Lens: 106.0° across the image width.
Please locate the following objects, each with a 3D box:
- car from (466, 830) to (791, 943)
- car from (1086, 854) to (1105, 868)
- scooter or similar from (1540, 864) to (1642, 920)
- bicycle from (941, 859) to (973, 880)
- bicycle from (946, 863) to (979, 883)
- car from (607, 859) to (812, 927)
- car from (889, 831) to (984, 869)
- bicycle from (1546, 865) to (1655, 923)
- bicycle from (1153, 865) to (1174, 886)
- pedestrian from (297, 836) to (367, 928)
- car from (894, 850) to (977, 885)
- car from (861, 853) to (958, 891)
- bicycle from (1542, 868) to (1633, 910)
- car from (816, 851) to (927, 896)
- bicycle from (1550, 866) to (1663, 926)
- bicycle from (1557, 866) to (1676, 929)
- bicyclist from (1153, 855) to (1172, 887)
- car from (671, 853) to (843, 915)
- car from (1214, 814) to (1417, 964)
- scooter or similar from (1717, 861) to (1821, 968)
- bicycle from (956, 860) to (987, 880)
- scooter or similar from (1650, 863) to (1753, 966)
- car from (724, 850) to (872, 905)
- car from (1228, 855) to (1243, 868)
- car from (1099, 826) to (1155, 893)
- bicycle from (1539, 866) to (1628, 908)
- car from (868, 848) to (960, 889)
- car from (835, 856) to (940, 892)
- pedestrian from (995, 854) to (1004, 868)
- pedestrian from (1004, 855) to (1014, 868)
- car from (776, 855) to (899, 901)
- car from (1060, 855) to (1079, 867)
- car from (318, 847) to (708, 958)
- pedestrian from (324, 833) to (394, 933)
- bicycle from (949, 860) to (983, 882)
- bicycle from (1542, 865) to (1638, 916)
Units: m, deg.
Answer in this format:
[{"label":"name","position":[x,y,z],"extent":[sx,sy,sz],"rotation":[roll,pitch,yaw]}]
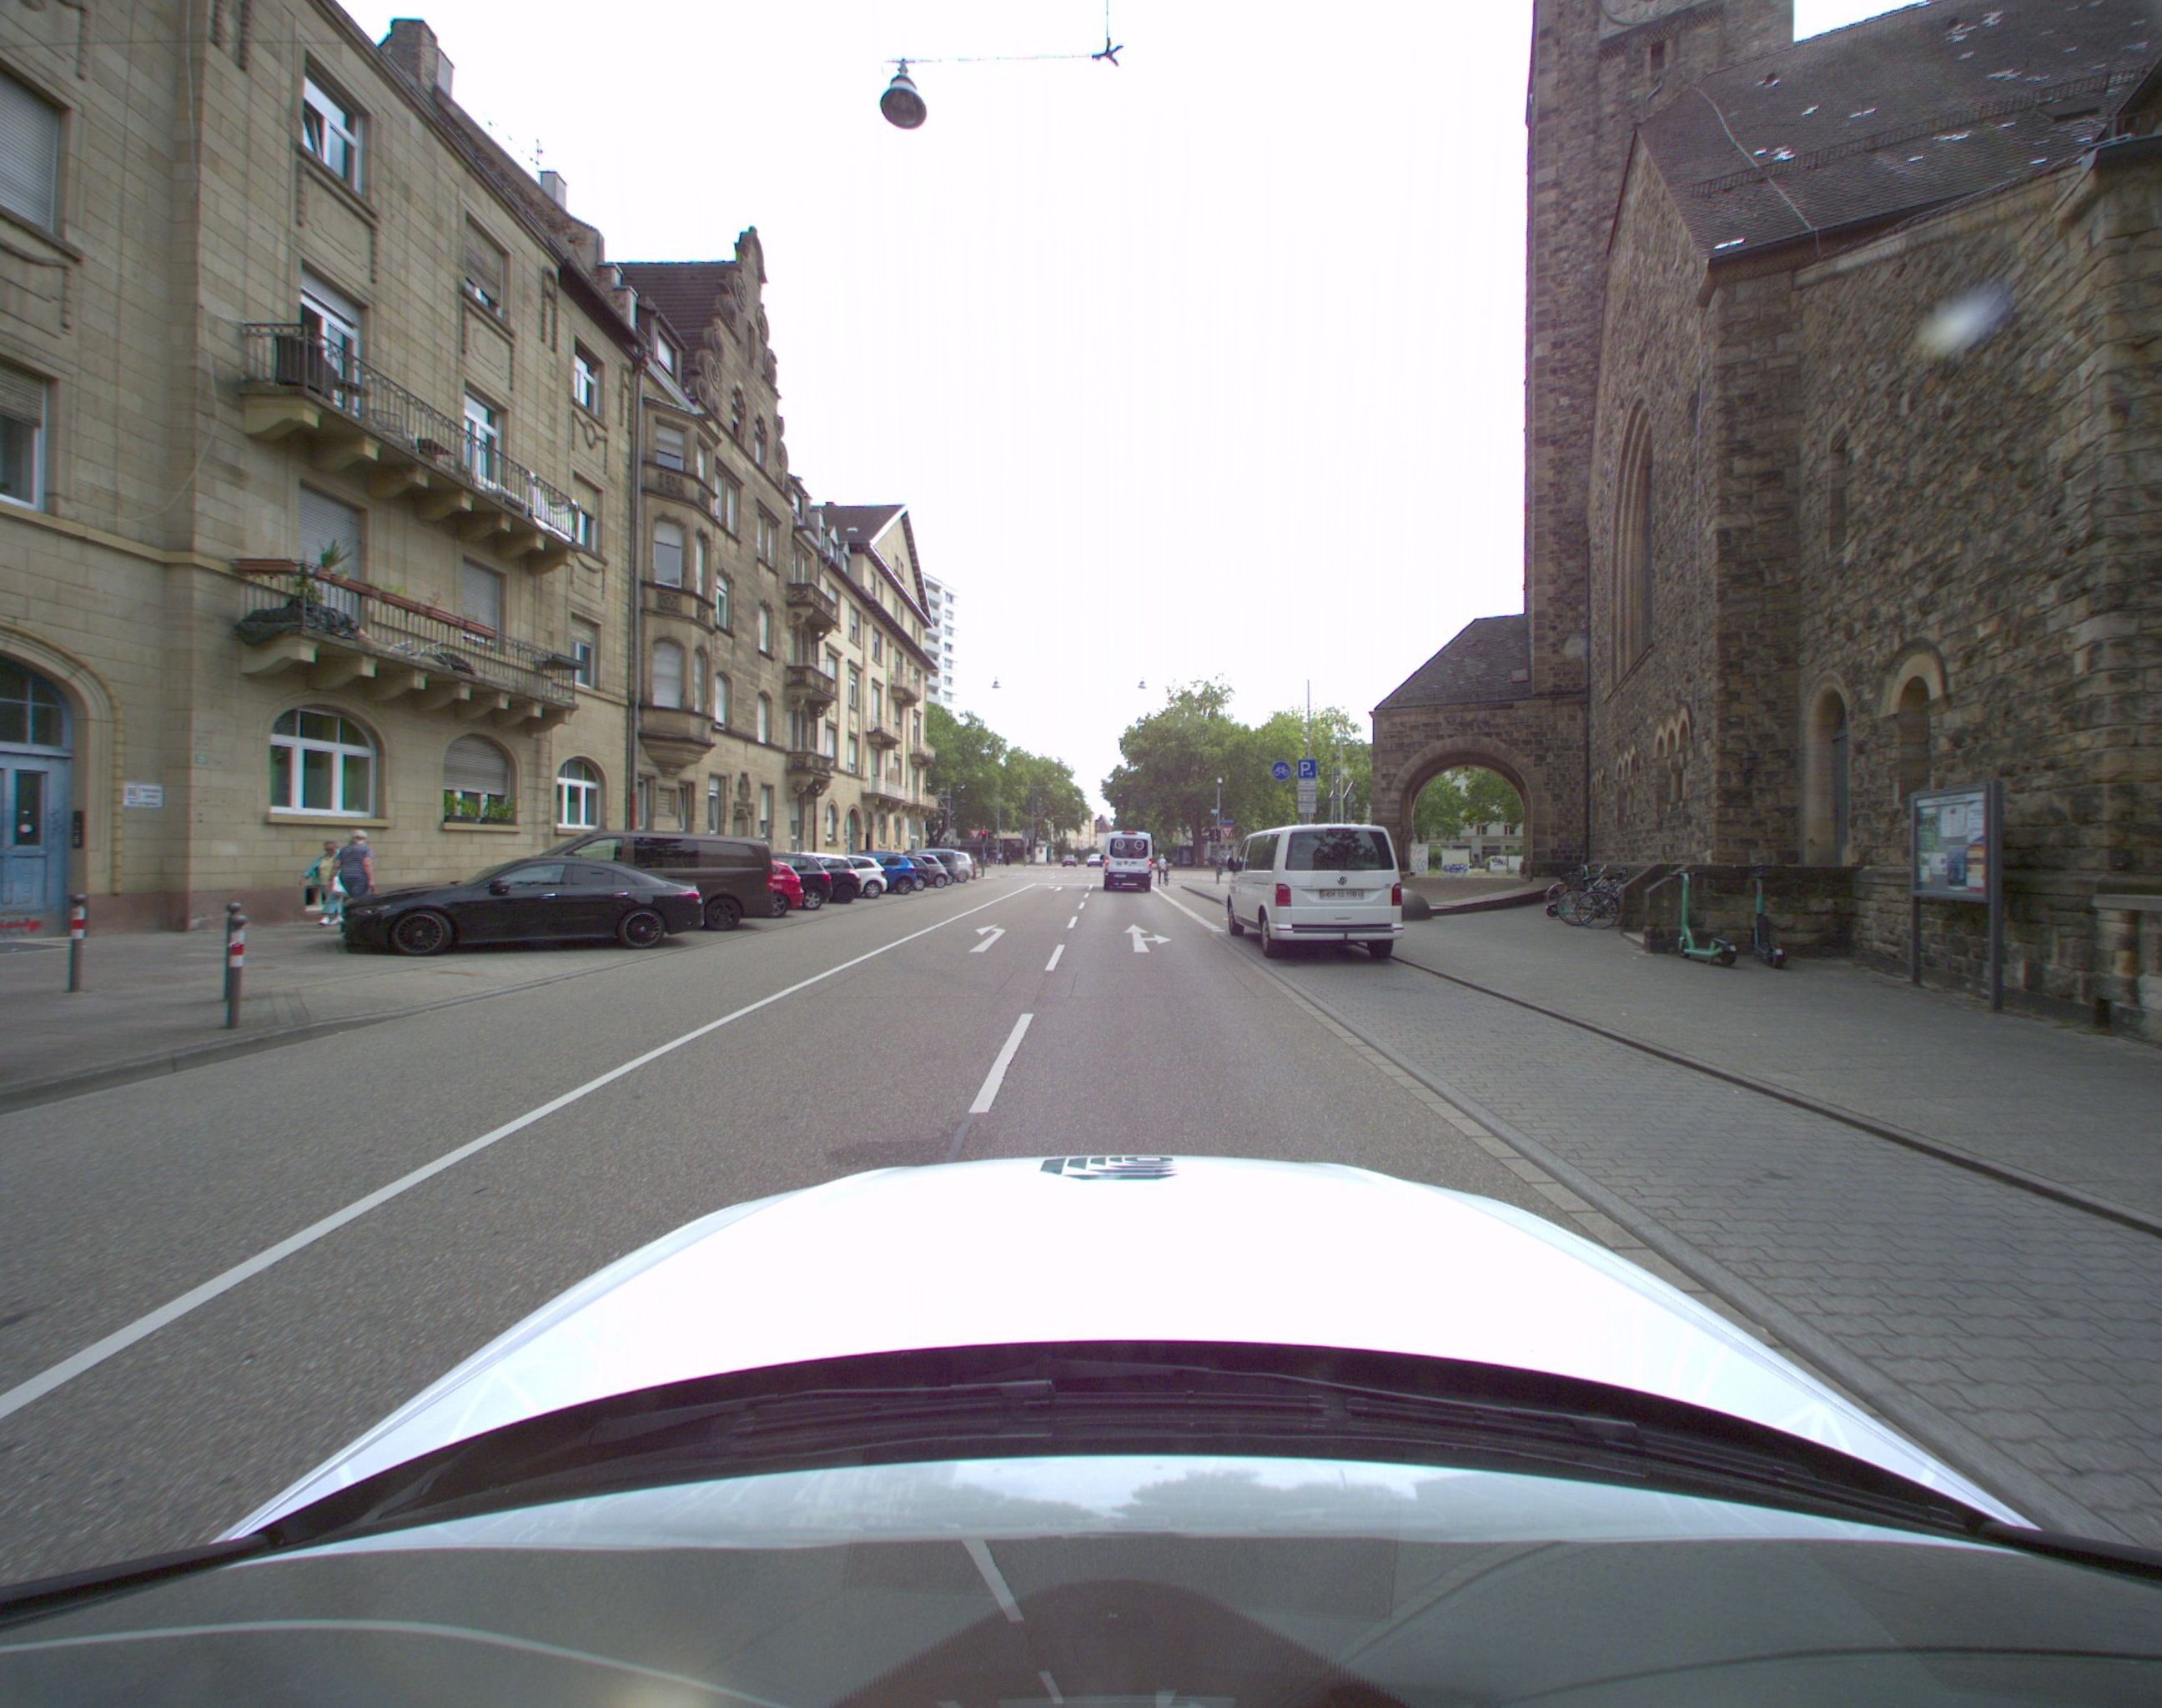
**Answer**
[{"label":"car","position":[-8.694,0.557,16.044],"extent":[5.290,1.910,2.100],"rotation":[0,0,-33]},{"label":"car","position":[1.833,0.835,99.300],"extent":[1.722,1.592,4.011],"rotation":[0,0,10]},{"label":"scooter or similar","position":[10.851,0.787,17.376],"extent":[1.761,1.140,0.549],"rotation":[0,0,20]},{"label":"bicycle","position":[-7.340,0.904,48.362],"extent":[1.807,1.166,0.593],"rotation":[2,-1,-6]},{"label":"bicycle","position":[-6.816,1.104,46.935],"extent":[1.799,1.120,0.595],"rotation":[0,-1,8]},{"label":"car","position":[-8.558,0.825,18.930],"extent":[4.032,1.409,1.776],"rotation":[0,0,-39]},{"label":"car","position":[-15.487,-0.397,87.088],"extent":[9.793,3.915,3.476],"rotation":[0,0,26]},{"label":"bicycle","position":[10.343,0.783,16.281],"extent":[1.761,1.112,0.549],"rotation":[0,0,20]},{"label":"bicycle","position":[4.337,1.123,42.814],"extent":[0.900,1.075,1.969],"rotation":[0,0,-1]},{"label":"pedestrian","position":[-12.389,0.460,13.486],"extent":[0.658,1.485,0.509],"rotation":[0,0,-2]},{"label":"car","position":[-7.710,0.695,43.322],"extent":[4.030,1.773,1.777],"rotation":[0,0,-37]},{"label":"car","position":[-7.848,0.792,37.419],"extent":[4.030,1.652,1.777],"rotation":[0,0,-37]},{"label":"bicycle","position":[11.988,0.820,19.337],"extent":[1.761,0.957,0.549],"rotation":[0,0,20]},{"label":"car","position":[-8.043,0.715,31.375],"extent":[3.793,1.652,1.706],"rotation":[0,0,-35]},{"label":"bicycle","position":[10.100,0.782,15.709],"extent":[1.754,1.112,0.549],"rotation":[0,0,20]},{"label":"bicycle","position":[9.880,0.780,15.094],"extent":[1.761,1.112,0.549],"rotation":[0,0,20]},{"label":"bicyclist","position":[4.316,0.902,43.000],"extent":[0.901,1.683,0.756],"rotation":[0,0,-1]},{"label":"car","position":[-8.552,0.746,21.631],"extent":[4.012,1.503,1.615],"rotation":[0,0,-33]},{"label":"car","position":[3.641,0.454,13.753],"extent":[2.007,2.029,5.124],"rotation":[-1,0,1]},{"label":"scooter or similar","position":[8.477,0.700,10.092],"extent":[0.539,1.207,1.489],"rotation":[0,0,22]},{"label":"bicycle","position":[-6.829,0.973,50.776],"extent":[1.859,1.167,0.500],"rotation":[2,-1,22]},{"label":"scooter or similar","position":[7.877,0.721,10.401],"extent":[0.540,1.207,1.448],"rotation":[0,0,15]},{"label":"car","position":[-8.639,0.677,24.959],"extent":[4.024,1.564,1.779],"rotation":[0,0,-30]},{"label":"car","position":[23.601,1.160,124.280],"extent":[1.983,1.930,4.007],"rotation":[0,0,7]},{"label":"car","position":[1.943,0.209,35.777],"extent":[2.174,2.647,4.629],"rotation":[2,0,1]},{"label":"bicycle","position":[12.285,0.811,19.950],"extent":[1.761,0.957,0.549],"rotation":[-2,-1,20]},{"label":"car","position":[-8.166,0.683,39.947],"extent":[4.030,1.879,1.777],"rotation":[0,0,-37]},{"label":"car","position":[-8.144,0.818,34.328],"extent":[3.919,1.443,1.818],"rotation":[0,0,-34]},{"label":"pedestrian","position":[-9.338,0.838,93.596],"extent":[0.801,1.572,0.727],"rotation":[0,0,16]},{"label":"pedestrian","position":[-8.308,0.849,93.484],"extent":[0.922,1.514,0.727],"rotation":[0,0,16]},{"label":"car","position":[-8.331,0.785,27.982],"extent":[3.700,1.481,1.723],"rotation":[0,0,-34]},{"label":"car","position":[-1.356,0.888,100.334],"extent":[1.611,1.476,4.011],"rotation":[0,0,10]},{"label":"car","position":[-8.643,0.734,12.834],"extent":[4.692,1.409,1.879],"rotation":[3,0,-37]},{"label":"pedestrian","position":[-11.442,0.449,12.921],"extent":[0.651,1.545,0.506],"rotation":[0,0,-17]},{"label":"bicycle","position":[-6.740,0.986,47.606],"extent":[1.800,1.120,0.595],"rotation":[4,0,5]},{"label":"bicycle","position":[11.523,0.817,18.493],"extent":[1.761,1.112,0.549],"rotation":[0,0,20]}]
